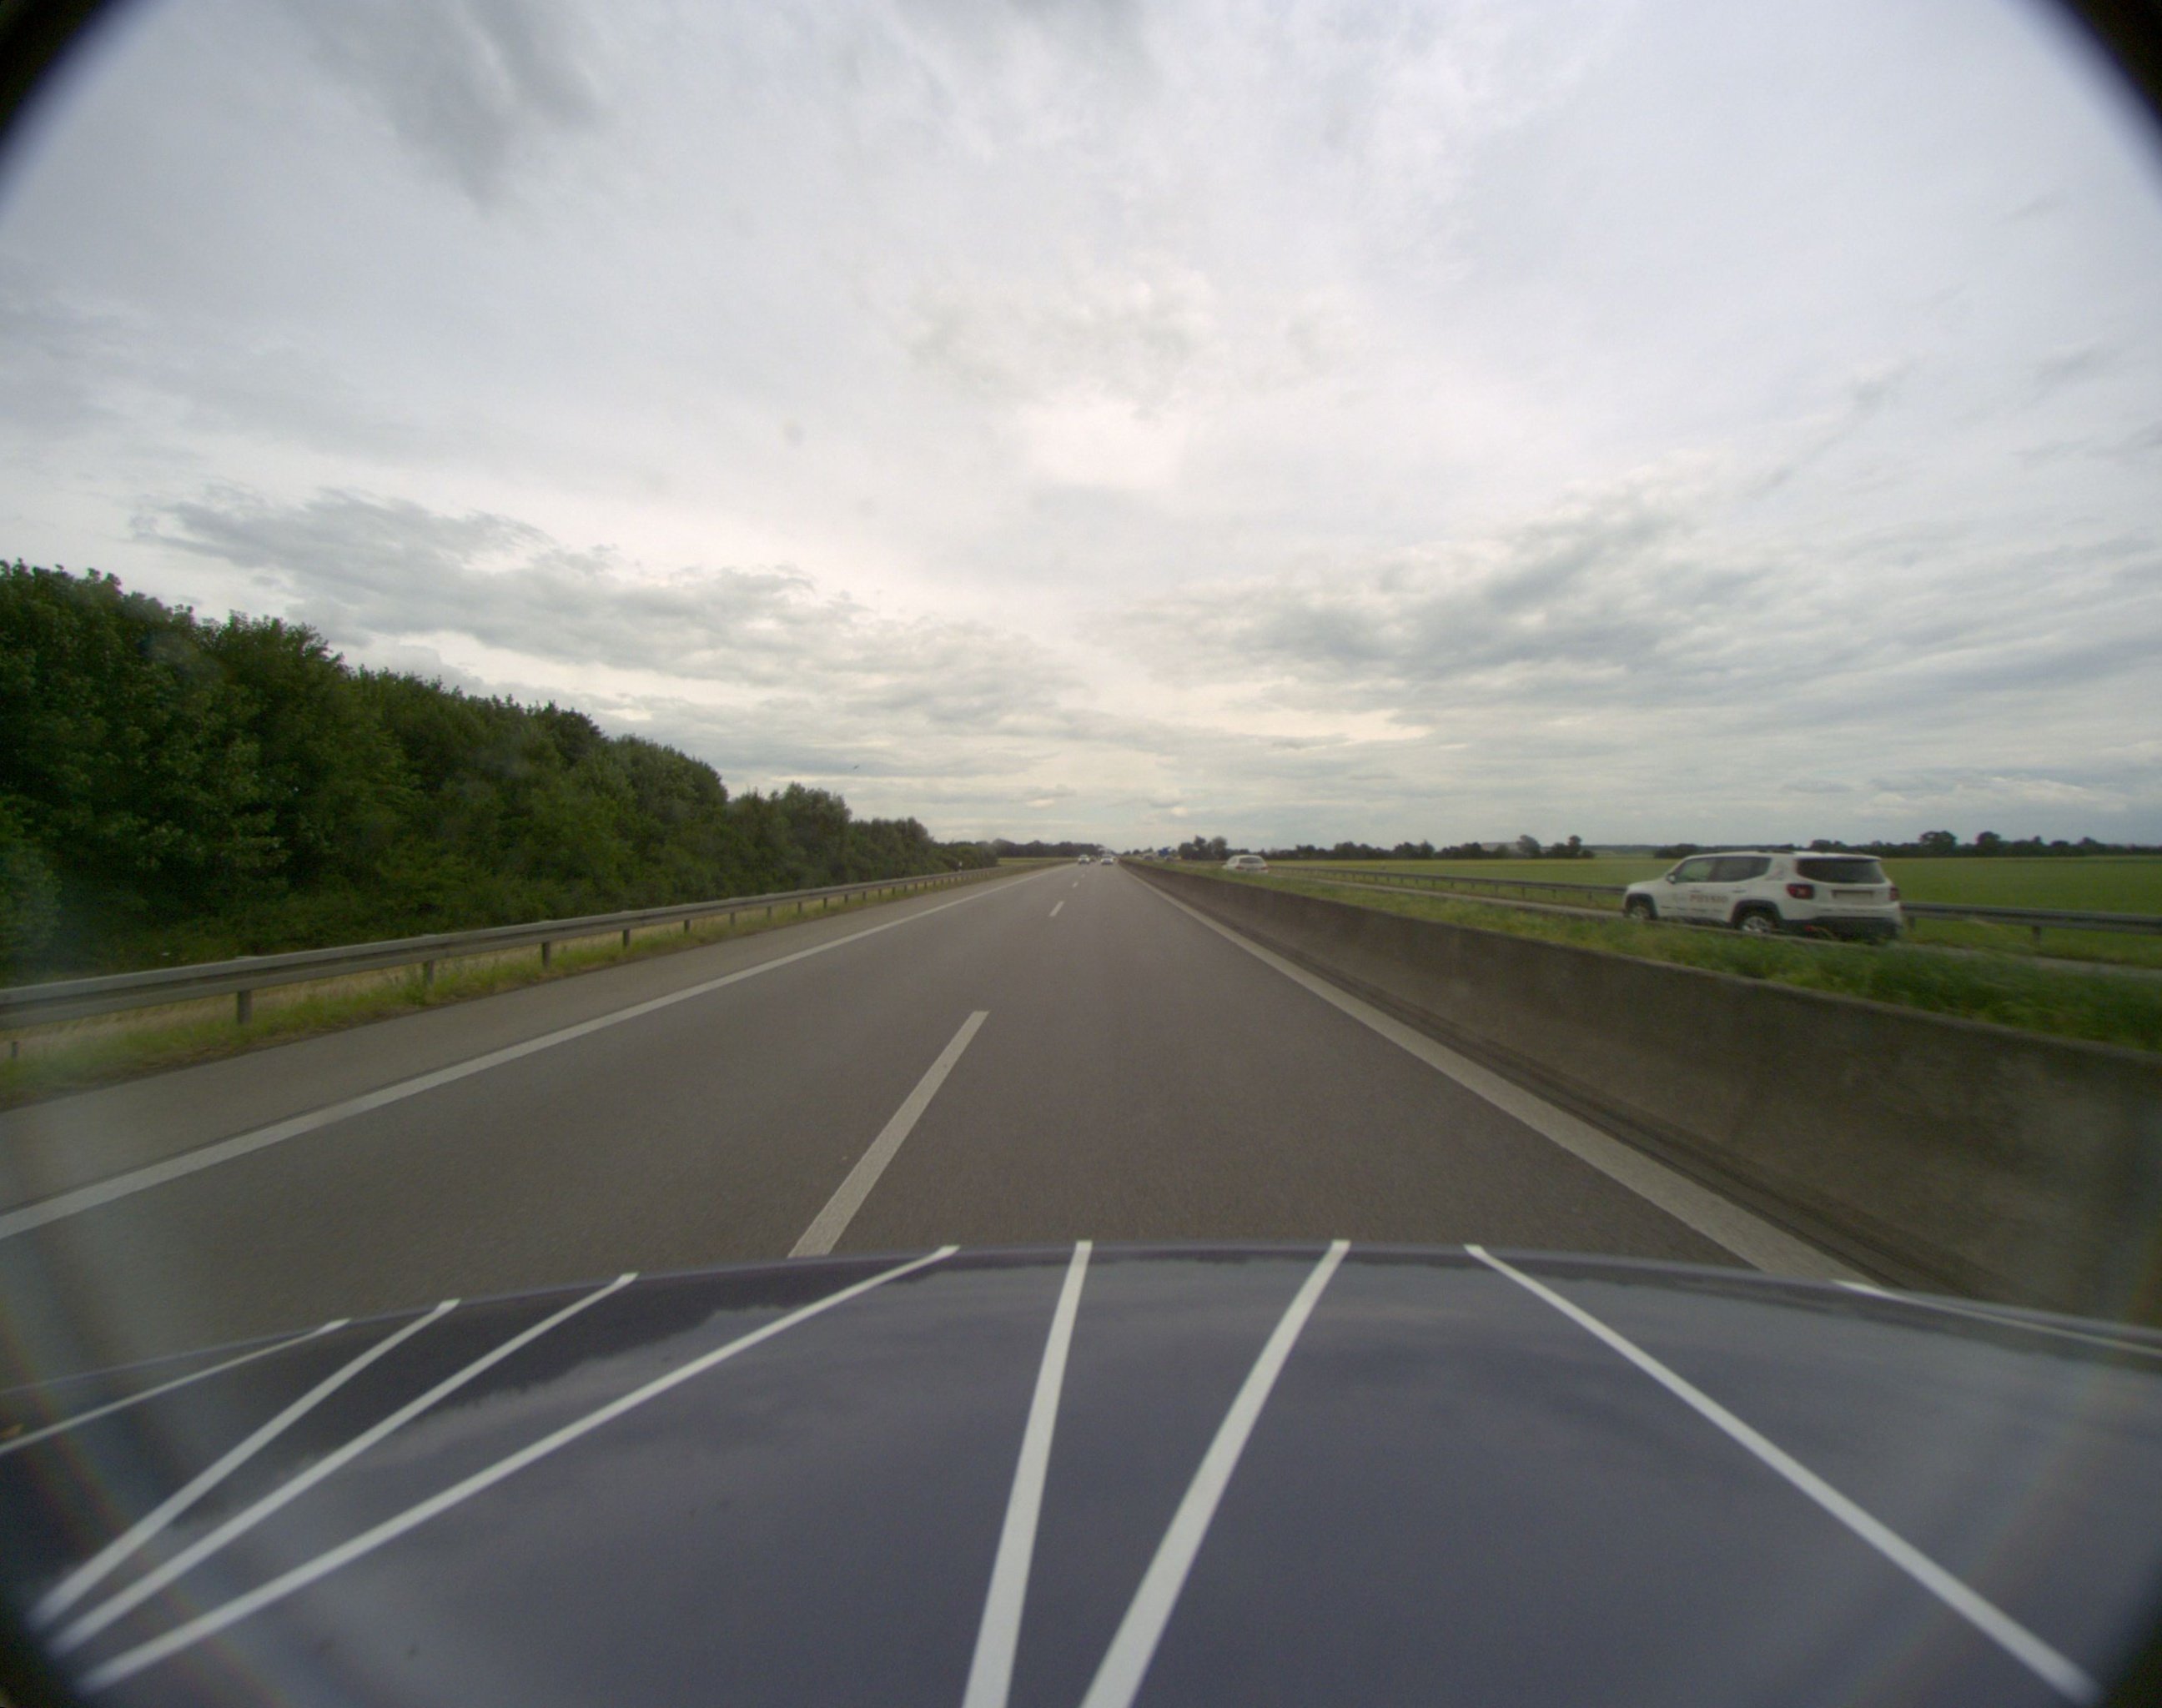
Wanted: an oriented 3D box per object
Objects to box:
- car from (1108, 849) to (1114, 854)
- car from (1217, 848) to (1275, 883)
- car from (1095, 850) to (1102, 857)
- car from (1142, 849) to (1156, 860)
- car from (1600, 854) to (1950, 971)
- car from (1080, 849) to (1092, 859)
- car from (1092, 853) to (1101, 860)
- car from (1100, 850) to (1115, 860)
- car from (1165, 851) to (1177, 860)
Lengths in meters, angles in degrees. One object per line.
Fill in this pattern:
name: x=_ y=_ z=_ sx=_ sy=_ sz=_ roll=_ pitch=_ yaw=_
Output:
car: x=9.211 y=-0.773 z=231.983 sx=1.916 sy=1.553 sz=4.288 roll=-1 pitch=1 yaw=2
car: x=8.549 y=0.549 z=39.818 sx=1.952 sy=1.684 sz=5.174 roll=1 pitch=1 yaw=1
car: x=5.943 y=-0.104 z=261.600 sx=1.915 sy=2.248 sz=5.314 roll=-1 pitch=1 yaw=5
car: x=11.081 y=0.075 z=124.339 sx=1.845 sy=1.684 sz=4.358 roll=1 pitch=1 yaw=1
car: x=11.610 y=0.846 z=13.306 sx=1.840 sy=1.617 sz=4.690 roll=1 pitch=1 yaw=1
car: x=0.933 y=0.005 z=133.410 sx=1.916 sy=1.553 sz=4.288 roll=-1 pitch=1 yaw=2
car: x=3.676 y=0.548 z=176.671 sx=1.916 sy=1.553 sz=4.288 roll=-1 pitch=1 yaw=2
car: x=4.104 y=0.164 z=116.549 sx=1.916 sy=1.553 sz=4.286 roll=-1 pitch=1 yaw=-3
car: x=15.922 y=0.218 z=134.735 sx=1.750 sy=1.479 sz=4.530 roll=1 pitch=0 yaw=1
